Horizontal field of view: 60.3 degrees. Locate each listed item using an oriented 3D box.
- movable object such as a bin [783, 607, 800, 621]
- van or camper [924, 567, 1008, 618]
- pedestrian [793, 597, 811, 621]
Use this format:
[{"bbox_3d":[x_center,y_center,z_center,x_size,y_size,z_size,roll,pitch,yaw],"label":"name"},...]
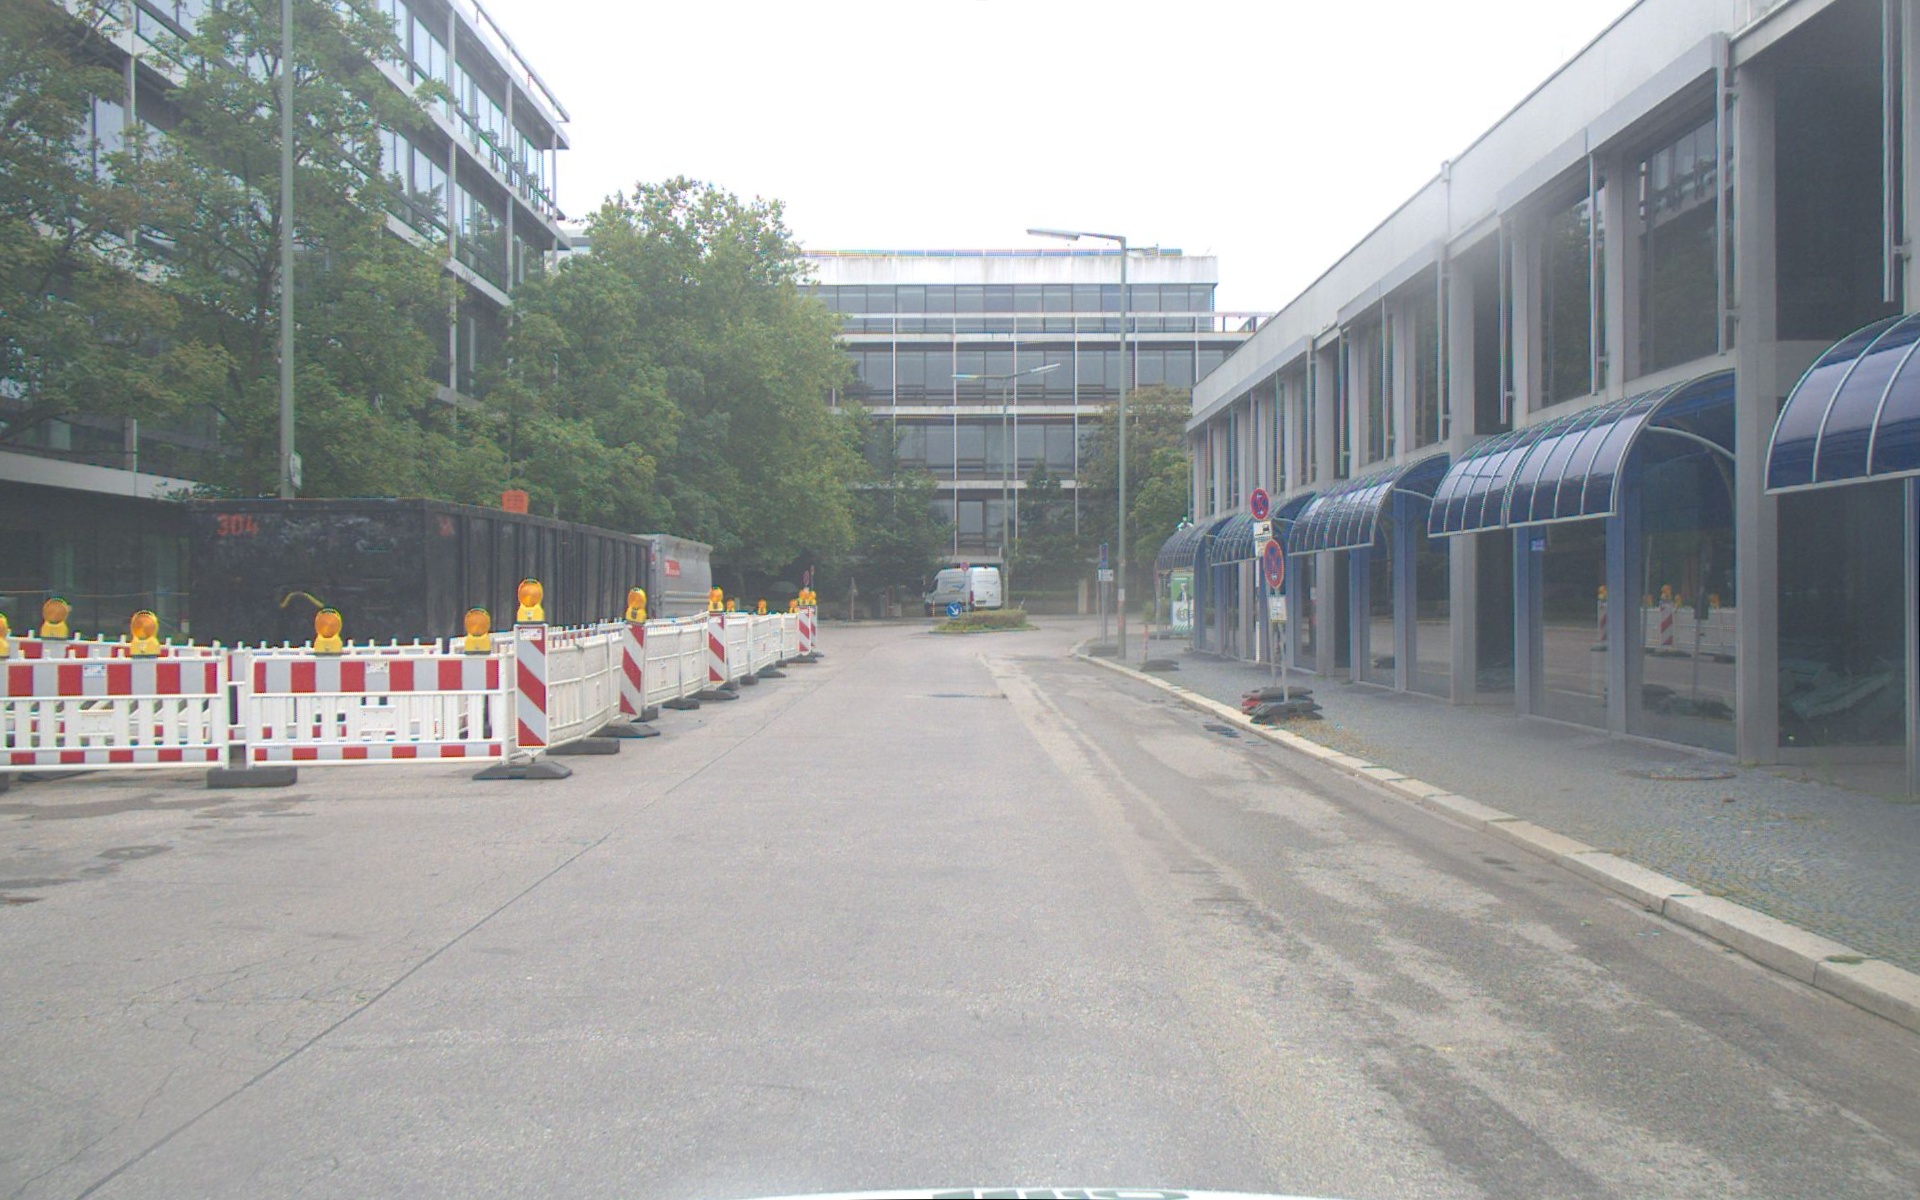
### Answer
[{"bbox_3d":[-9.174,0.741,90.024,0.817,0.766,0.572,0,0,2],"label":"movable object such as a bin"},{"bbox_3d":[0.268,-0.357,92.309,2.129,2.626,6.484,0,-1,-26],"label":"van or camper"},{"bbox_3d":[-8.620,0.485,90.066,0.907,1.300,0.542,0,0,1],"label":"pedestrian"}]
